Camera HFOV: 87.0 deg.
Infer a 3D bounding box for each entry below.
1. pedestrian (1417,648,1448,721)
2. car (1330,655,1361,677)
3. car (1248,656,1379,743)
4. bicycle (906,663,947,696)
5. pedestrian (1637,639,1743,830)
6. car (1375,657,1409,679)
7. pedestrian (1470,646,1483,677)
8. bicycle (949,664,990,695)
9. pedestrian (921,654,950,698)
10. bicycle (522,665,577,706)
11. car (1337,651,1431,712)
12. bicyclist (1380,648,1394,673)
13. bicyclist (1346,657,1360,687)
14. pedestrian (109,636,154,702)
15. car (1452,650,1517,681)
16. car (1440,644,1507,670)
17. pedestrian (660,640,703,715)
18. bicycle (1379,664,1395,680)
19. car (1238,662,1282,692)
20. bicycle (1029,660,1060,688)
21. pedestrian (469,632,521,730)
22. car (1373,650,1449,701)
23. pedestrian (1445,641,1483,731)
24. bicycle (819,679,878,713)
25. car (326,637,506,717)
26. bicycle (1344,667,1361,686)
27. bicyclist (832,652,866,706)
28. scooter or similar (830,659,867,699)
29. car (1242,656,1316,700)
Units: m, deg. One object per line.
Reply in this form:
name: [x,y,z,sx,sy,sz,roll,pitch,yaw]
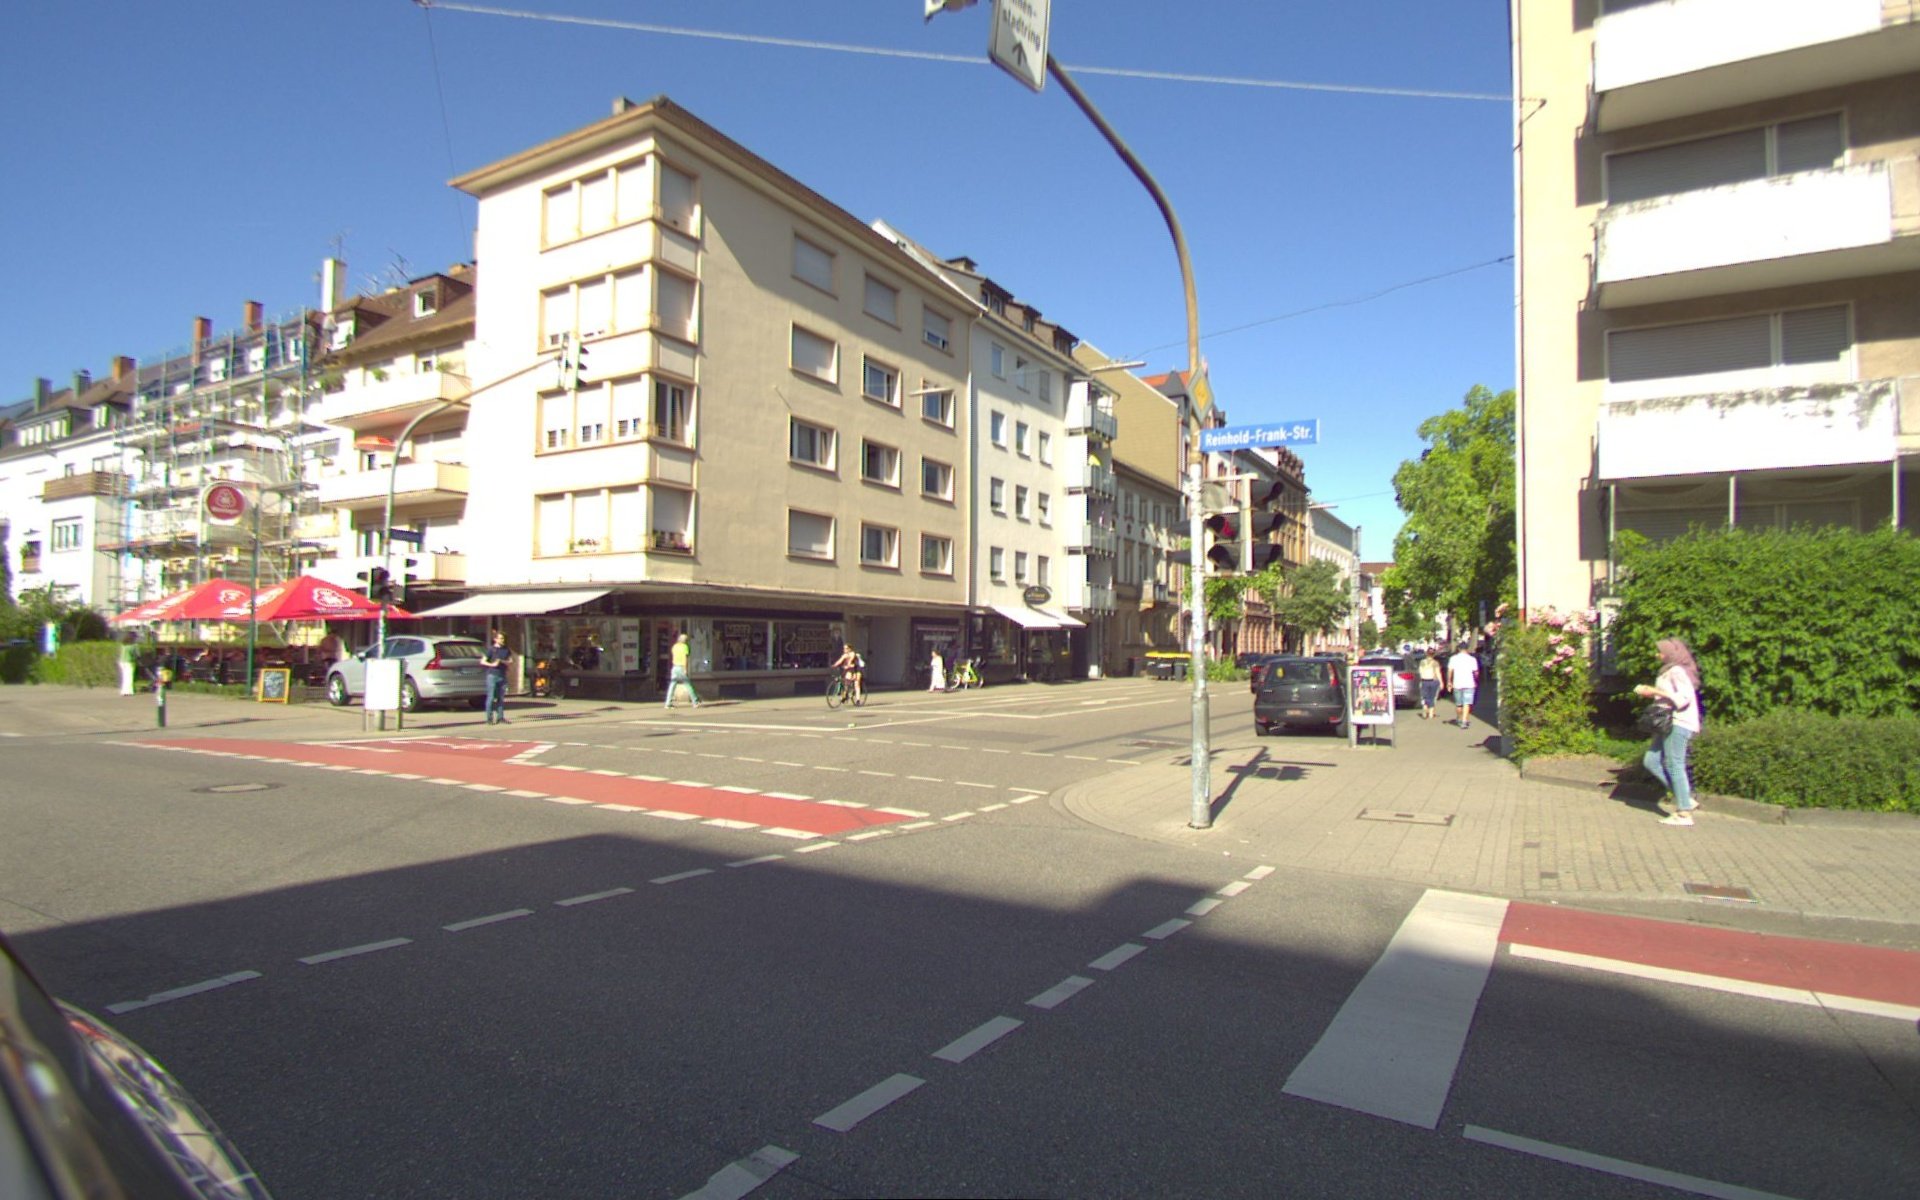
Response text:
pedestrian: [10.505,1.871,22.495,0.531,1.594,0.557,-2,-4,31]
car: [29.033,4.961,76.148,1.622,1.608,3.510,-1,-3,30]
car: [6.780,1.825,19.189,1.689,1.459,3.818,-4,-5,29]
bicycle: [-1.164,2.769,35.354,0.407,1.093,1.778,1,-2,35]
pedestrian: [6.485,1.159,9.028,0.645,1.608,0.690,-1,-3,29]
car: [32.565,5.102,76.174,1.905,1.564,3.959,-1,-3,30]
pedestrian: [30.297,3.595,59.335,0.621,1.820,0.497,-2,-4,31]
bicycle: [0.349,2.924,37.407,1.474,1.115,0.724,1,-3,-1]
pedestrian: [-0.839,2.571,34.345,0.772,1.453,0.619,-1,-3,26]
bicycle: [-11.017,2.270,27.134,1.894,1.025,0.559,-2,-4,42]
car: [11.710,2.196,27.788,1.821,1.515,4.754,-4,-5,29]
bicyclist: [27.622,3.924,65.503,0.679,1.643,0.889,-2,-4,30]
bicyclist: [19.852,3.626,51.092,0.542,1.532,0.766,-1,-4,30]
pedestrian: [-20.903,1.735,25.536,0.591,1.630,0.640,-1,-3,26]
car: [36.358,4.501,70.152,3.867,2.058,1.891,-2,-4,33]
car: [48.214,5.326,95.181,5.532,2.411,1.960,-1,-3,27]
pedestrian: [-6.735,1.859,24.522,0.662,1.771,0.754,-3,-4,36]
bicycle: [27.635,4.654,65.488,0.679,0.959,1.913,-2,-4,30]
car: [16.944,4.304,57.149,1.622,1.608,3.510,-1,-3,30]
bicycle: [3.707,3.239,44.282,0.596,1.152,1.755,2,-2,30]
pedestrian: [-8.918,1.543,19.415,0.623,1.836,0.602,0,-3,16]
car: [14.822,2.442,33.147,1.821,1.515,4.754,-4,-5,29]
pedestrian: [9.775,1.658,19.637,0.573,1.702,0.662,-2,-4,32]
bicycle: [-2.880,2.488,26.286,0.581,0.812,1.689,-2,-4,35]
car: [-12.342,1.686,22.932,3.986,1.675,1.806,-1,-3,31]
bicycle: [19.767,3.852,50.949,0.542,0.909,1.807,-1,-3,30]
bicyclist: [-2.887,2.045,26.312,0.581,1.387,0.656,-2,-4,35]
scooter or similar: [-3.459,2.444,31.494,0.525,1.234,1.216,-1,-4,30]
car: [11.539,2.758,36.417,1.802,1.424,4.384,1,-2,27]
